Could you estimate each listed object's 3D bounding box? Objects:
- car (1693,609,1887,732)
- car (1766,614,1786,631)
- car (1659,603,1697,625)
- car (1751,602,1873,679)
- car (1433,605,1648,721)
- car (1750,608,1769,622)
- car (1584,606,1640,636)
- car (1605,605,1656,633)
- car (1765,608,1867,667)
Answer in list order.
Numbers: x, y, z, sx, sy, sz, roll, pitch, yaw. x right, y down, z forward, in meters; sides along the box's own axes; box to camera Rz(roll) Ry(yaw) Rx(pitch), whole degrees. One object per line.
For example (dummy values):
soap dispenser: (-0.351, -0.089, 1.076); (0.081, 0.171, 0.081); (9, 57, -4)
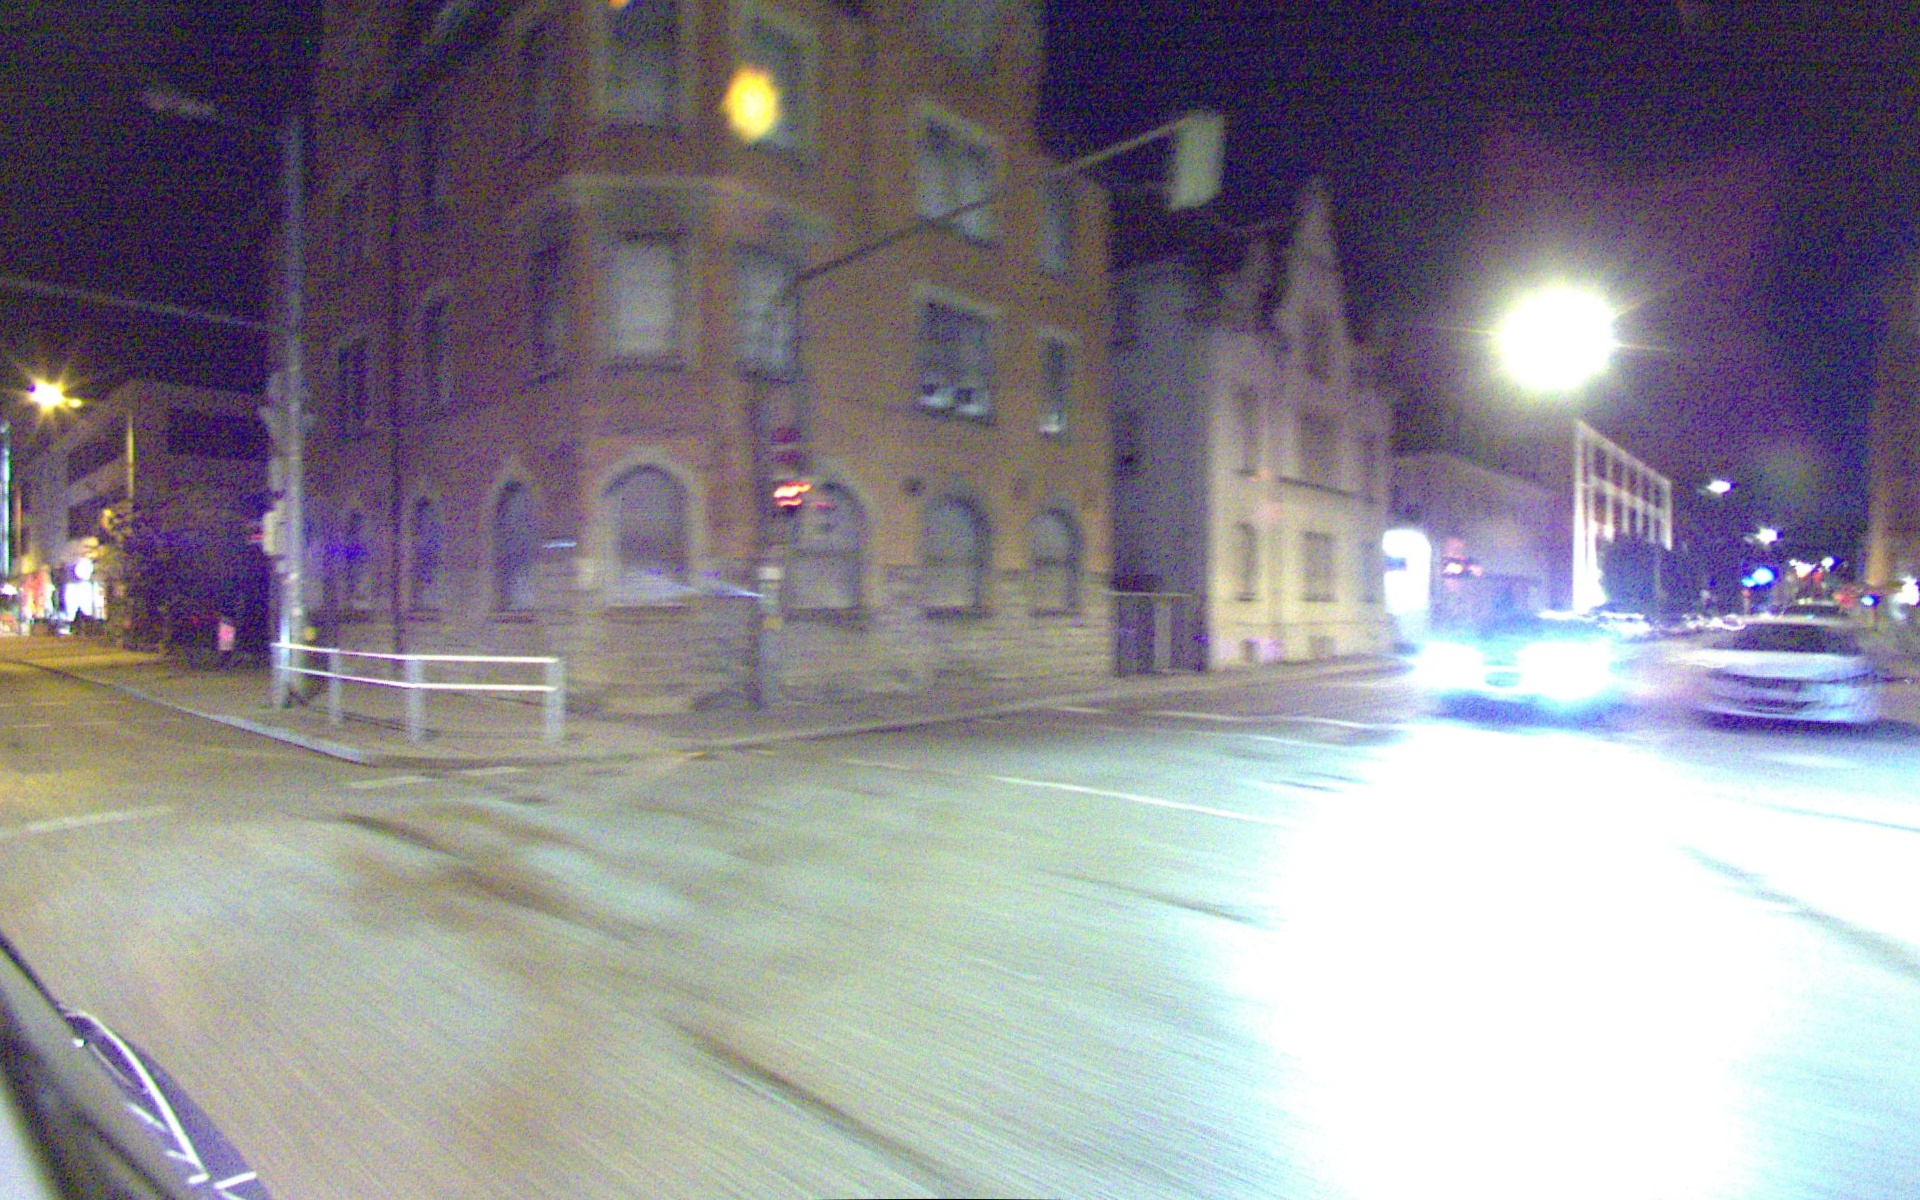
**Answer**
car: (11.369, 0.838, 13.849); (1.801, 1.413, 4.231); (0, -1, 41)
car: (90.954, 2.529, 112.842); (1.715, 1.718, 3.804); (0, 2, 39)
car: (49.137, 0.963, 69.217); (1.767, 1.439, 3.945); (-1, -1, 41)
car: (19.775, 0.882, 23.498); (1.999, 1.611, 4.231); (0, -1, 41)
car: (8.659, 0.805, 14.897); (1.916, 1.428, 4.577); (0, -1, 41)
car: (102.154, 1.902, 129.306); (1.819, 1.674, 3.948); (0, 2, 39)
car: (32.614, 1.030, 50.580); (1.767, 1.439, 3.945); (-1, -1, 41)
car: (36.232, 1.019, 54.658); (1.767, 1.439, 3.945); (-1, -1, 41)
car: (23.463, 0.964, 27.748); (1.999, 1.474, 4.131); (0, -1, 41)
